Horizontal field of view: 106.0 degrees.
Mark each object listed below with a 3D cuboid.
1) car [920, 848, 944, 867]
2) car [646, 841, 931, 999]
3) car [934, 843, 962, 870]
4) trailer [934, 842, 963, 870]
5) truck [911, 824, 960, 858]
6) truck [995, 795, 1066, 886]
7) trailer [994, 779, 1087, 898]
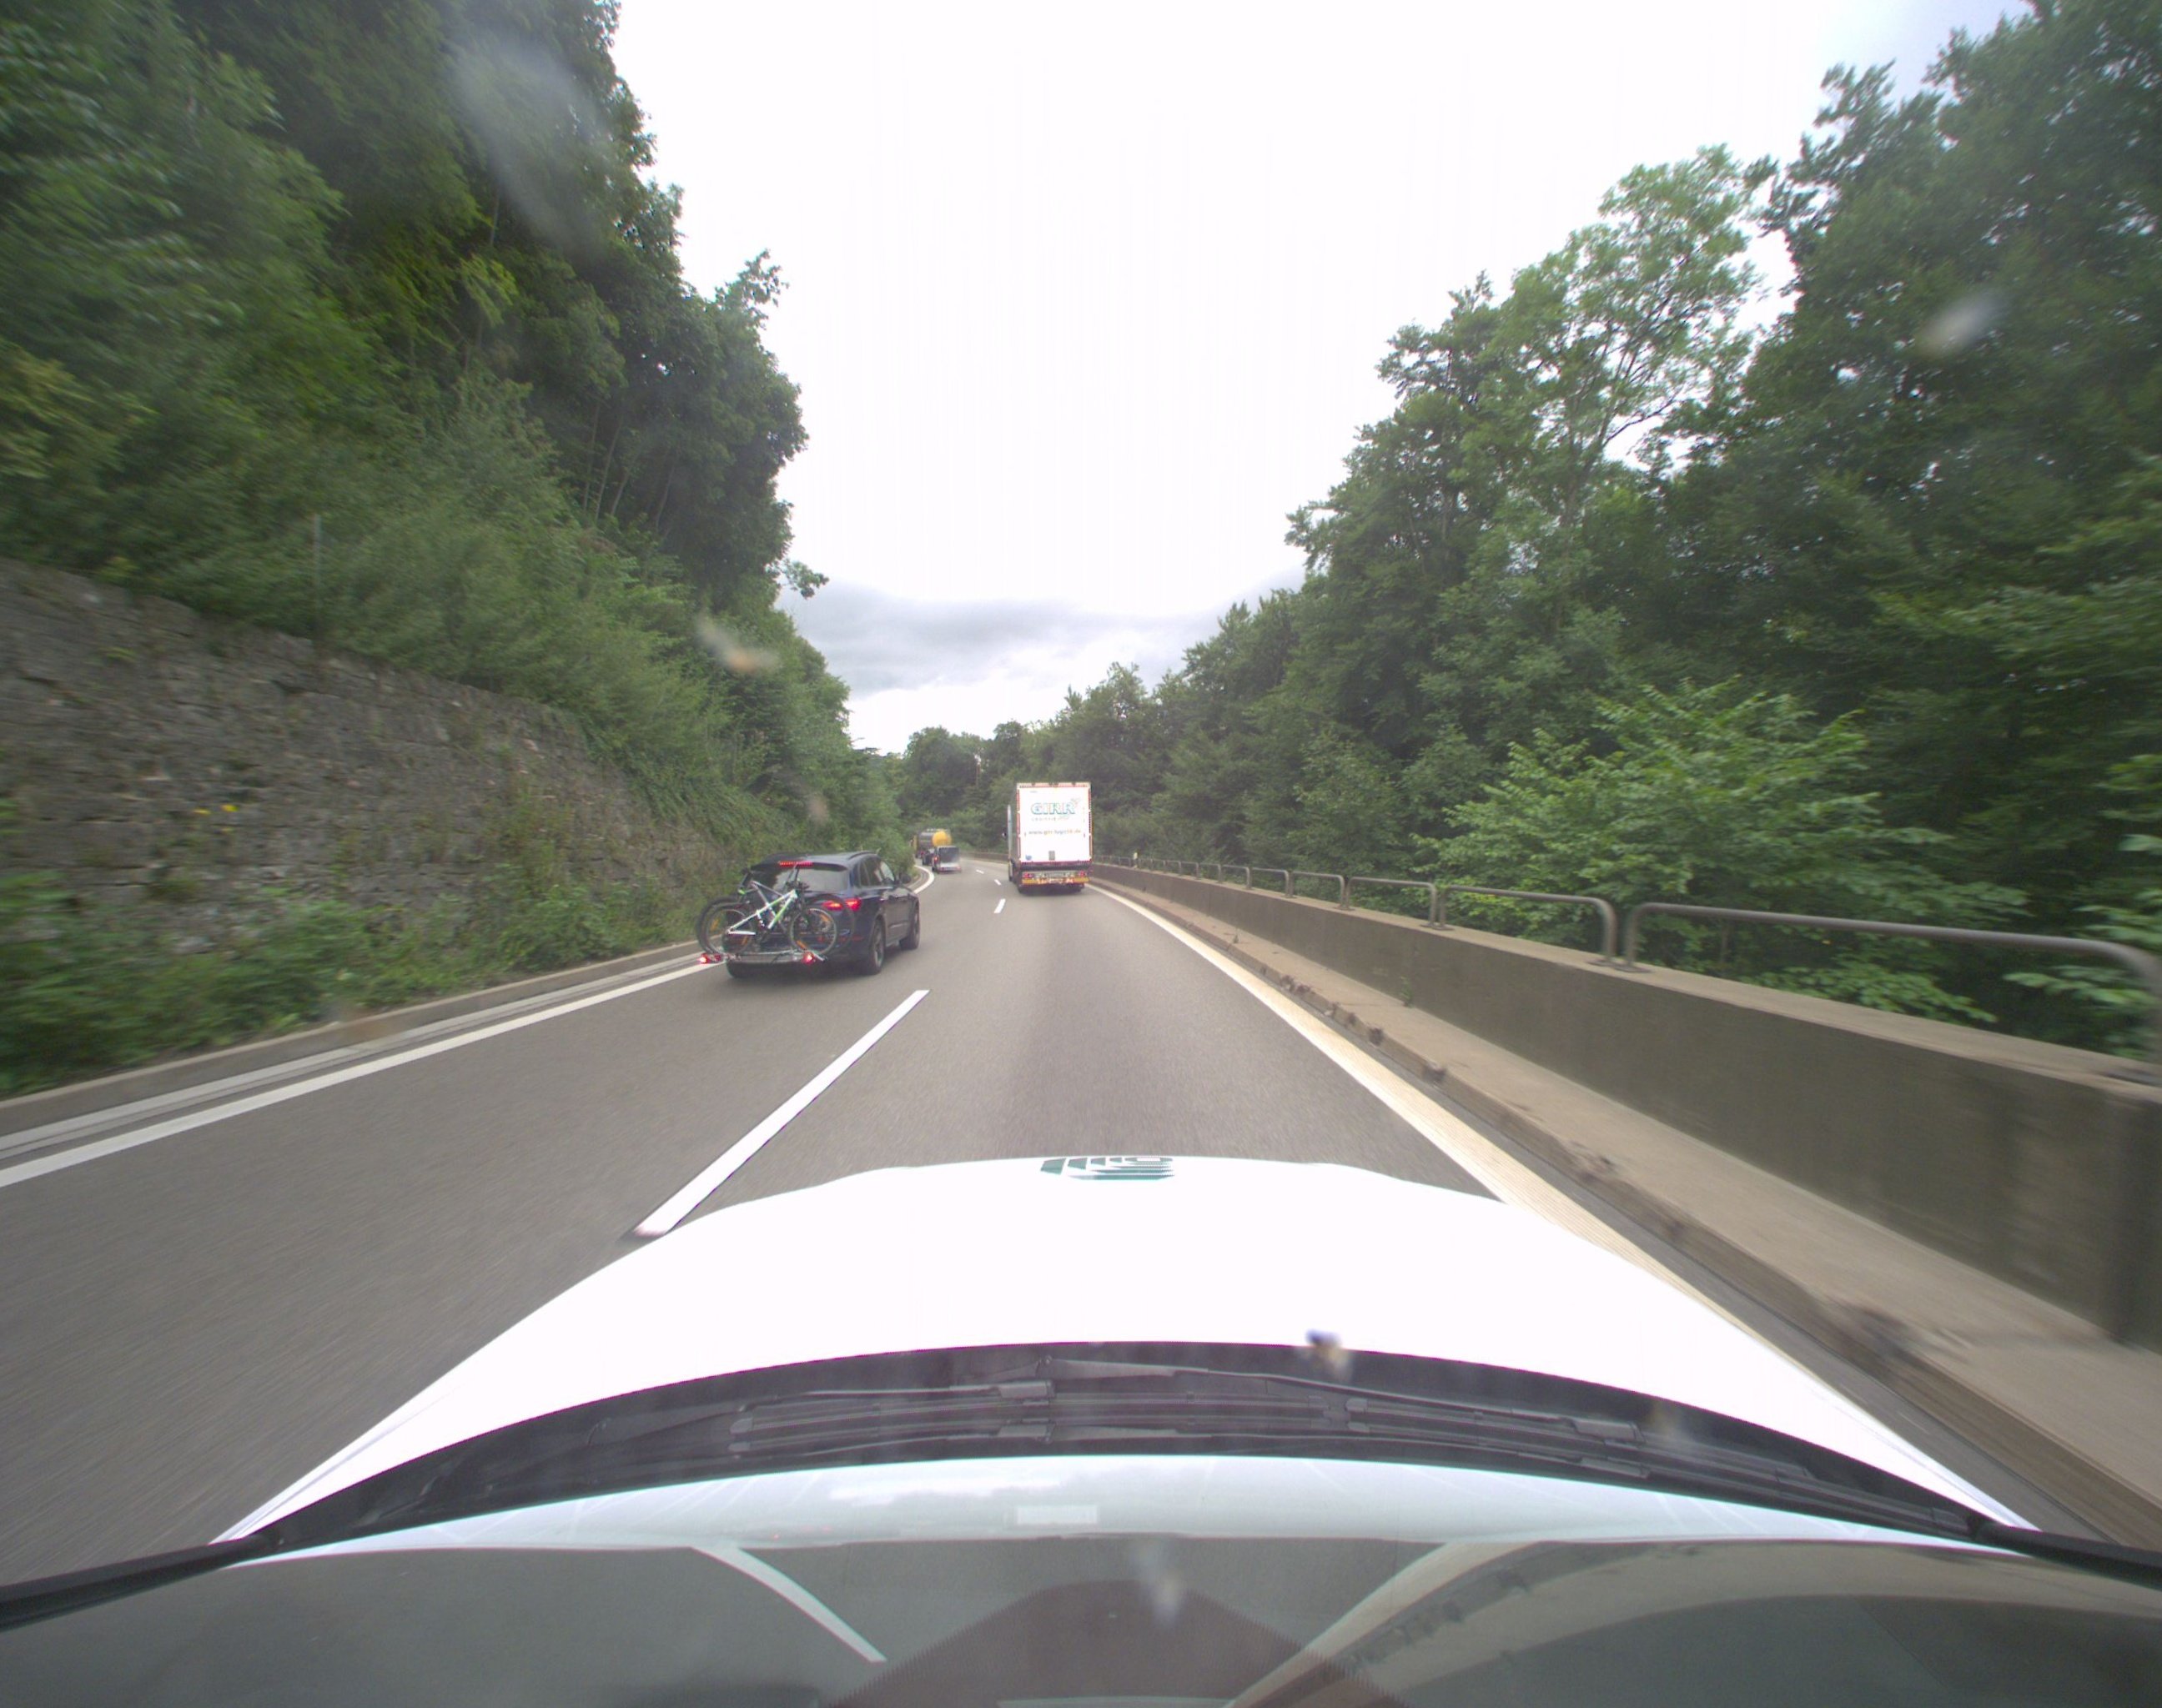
[{"bbox_3d":[-14.389,0.314,78.699,1.997,1.717,3.980,-1,0,-14],"label":"car"},{"bbox_3d":[-3.600,0.743,11.405,1.965,1.593,5.583,2,-1,-1],"label":"car"},{"bbox_3d":[-10.291,0.194,62.745,1.994,2.014,5.520,0,-1,-10],"label":"car"},{"bbox_3d":[-9.494,0.171,58.339,1.971,1.939,3.418,0,-1,-10],"label":"trailer"},{"bbox_3d":[-18.605,-1.484,103.183,3.071,3.986,13.592,-1,0,-23],"label":"truck"},{"bbox_3d":[-2.605,-0.697,40.218,3.053,3.985,7.174,2,1,-6],"label":"truck"},{"bbox_3d":[-1.958,-0.705,33.847,3.053,3.985,12.114,2,2,-6],"label":"trailer"}]
